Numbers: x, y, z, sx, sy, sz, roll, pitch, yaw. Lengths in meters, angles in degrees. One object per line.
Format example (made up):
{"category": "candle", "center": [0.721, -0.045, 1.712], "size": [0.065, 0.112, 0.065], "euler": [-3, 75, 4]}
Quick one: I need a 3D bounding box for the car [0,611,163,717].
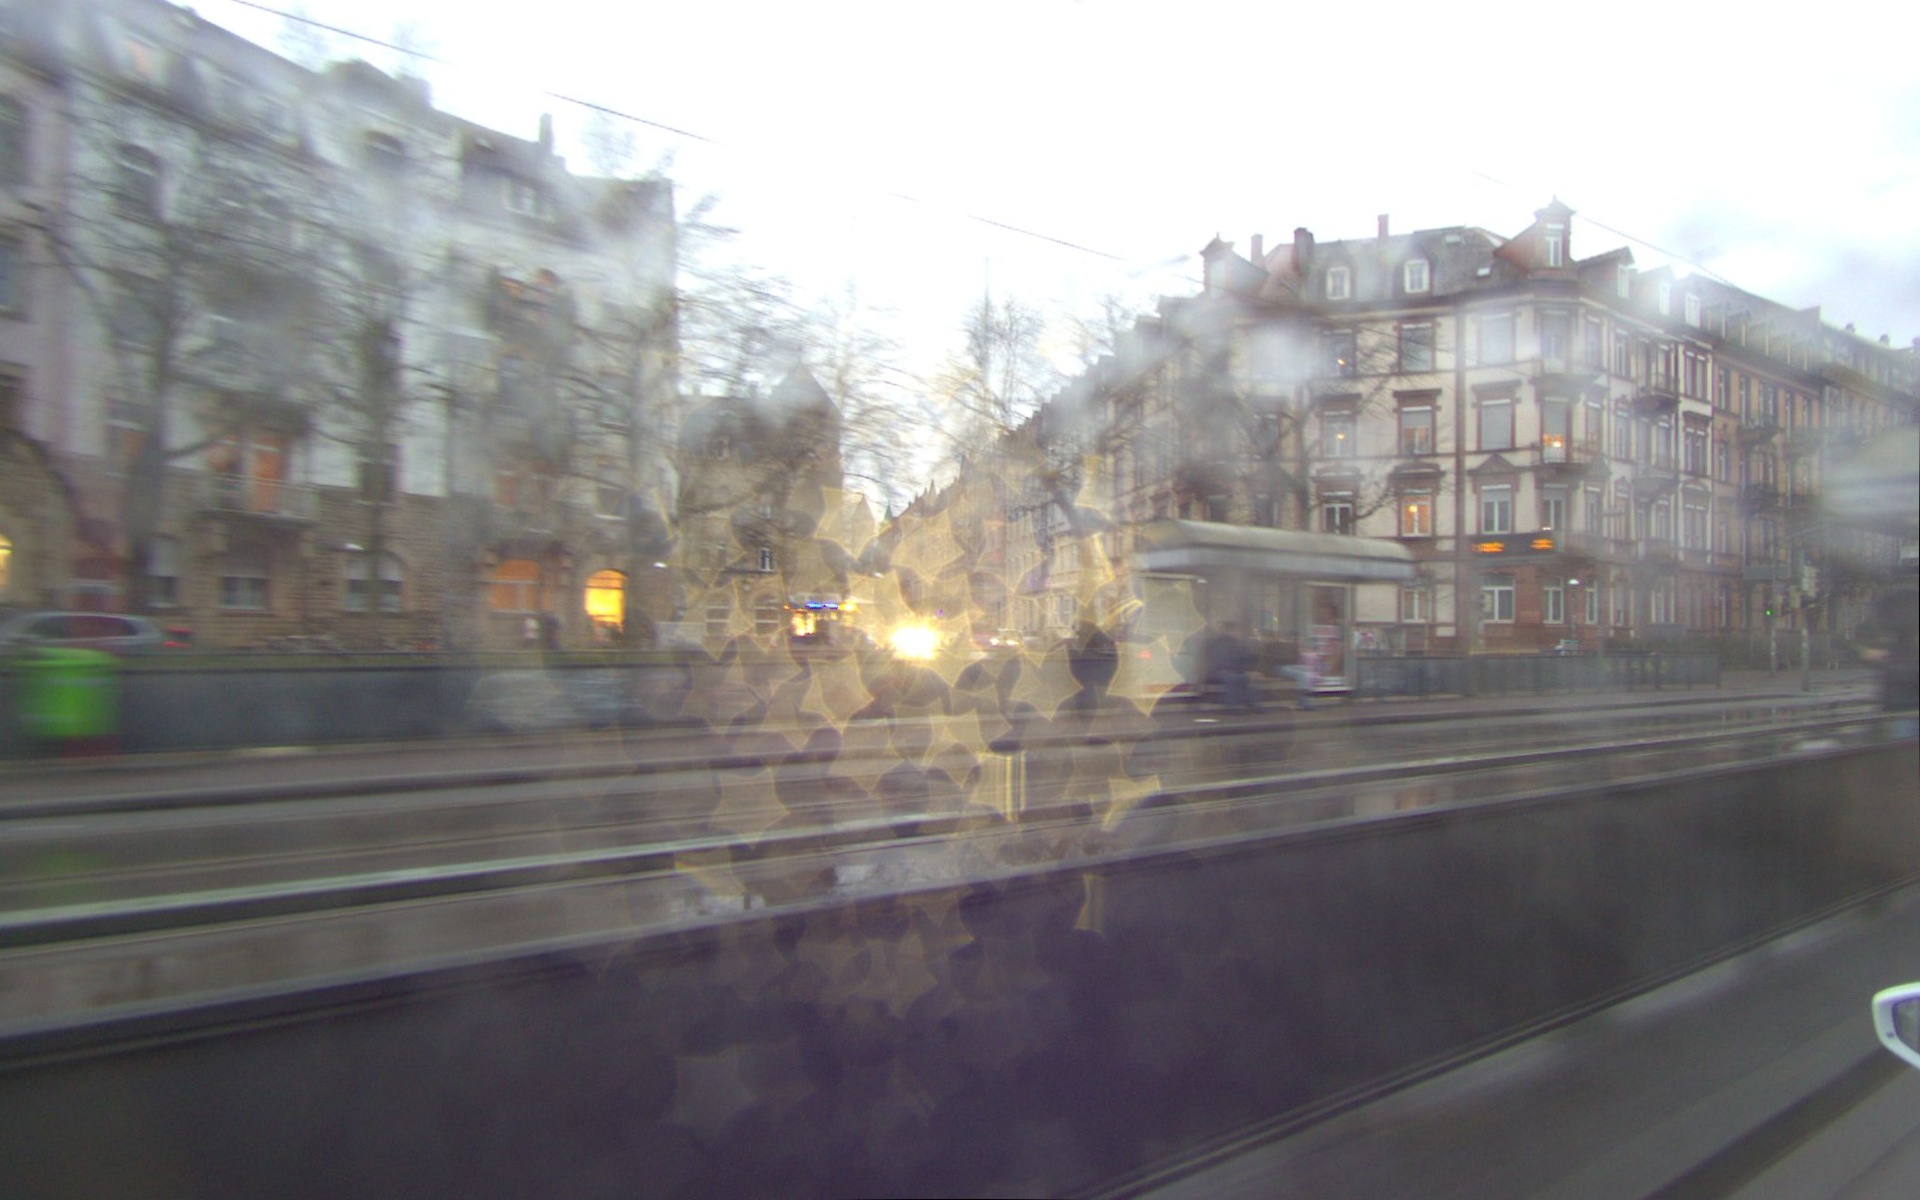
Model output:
{"category": "car", "center": [-16.045, 1.028, 16.557], "size": [1.898, 1.604, 4.346], "euler": [2, 0, 10]}

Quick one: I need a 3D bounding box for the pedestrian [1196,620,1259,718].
{"category": "pedestrian", "center": [4.076, 1.036, 15.330], "size": [0.572, 1.422, 0.680], "euler": [2, 1, -33]}

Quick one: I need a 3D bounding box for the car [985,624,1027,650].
{"category": "car", "center": [3.188, 2.603, 70.166], "size": [1.966, 1.728, 3.990], "euler": [1, -2, -13]}

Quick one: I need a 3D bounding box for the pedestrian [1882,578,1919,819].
{"category": "pedestrian", "center": [7.328, 0.733, 7.427], "size": [0.564, 1.764, 0.554], "euler": [2, 1, -32]}

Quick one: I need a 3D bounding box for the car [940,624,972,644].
{"category": "car", "center": [-0.347, 2.992, 88.639], "size": [1.966, 1.728, 3.990], "euler": [1, -2, -13]}

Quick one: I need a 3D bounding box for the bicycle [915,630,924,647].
{"category": "bicycle", "center": [-2.418, 2.292, 60.136], "size": [0.482, 1.020, 1.811], "euler": [0, -2, 0]}

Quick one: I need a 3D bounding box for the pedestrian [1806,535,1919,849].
{"category": "pedestrian", "center": [6.249, 0.580, 6.602], "size": [0.564, 1.982, 0.849], "euler": [2, 1, -32]}

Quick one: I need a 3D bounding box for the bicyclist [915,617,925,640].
{"category": "bicyclist", "center": [-2.400, 1.712, 60.100], "size": [0.520, 1.382, 0.766], "euler": [0, -1, 0]}

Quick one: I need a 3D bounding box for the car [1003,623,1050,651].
{"category": "car", "center": [4.201, 2.363, 64.371], "size": [1.965, 1.728, 3.991], "euler": [1, -2, -13]}

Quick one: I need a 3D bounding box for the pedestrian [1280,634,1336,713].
{"category": "pedestrian", "center": [5.751, 1.197, 16.607], "size": [0.511, 1.234, 0.648], "euler": [2, 1, -33]}

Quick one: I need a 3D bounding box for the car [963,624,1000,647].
{"category": "car", "center": [1.690, 2.800, 79.078], "size": [1.966, 1.728, 3.990], "euler": [1, -2, -13]}

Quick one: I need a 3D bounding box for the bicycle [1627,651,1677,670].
{"category": "bicycle", "center": [28.863, 2.508, 41.908], "size": [1.774, 0.769, 0.401], "euler": [0, -1, 3]}

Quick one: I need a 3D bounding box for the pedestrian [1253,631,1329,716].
{"category": "pedestrian", "center": [5.343, 1.164, 16.259], "size": [0.501, 1.271, 1.050], "euler": [2, 1, -32]}

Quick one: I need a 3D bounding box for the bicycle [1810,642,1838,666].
{"category": "bicycle", "center": [39.188, 2.449, 45.559], "size": [1.828, 1.020, 0.414], "euler": [2, -1, -32]}

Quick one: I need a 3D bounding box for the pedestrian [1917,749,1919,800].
{"category": "pedestrian", "center": [8.148, 0.622, 8.005], "size": [0.564, 2.014, 0.554], "euler": [2, 1, -32]}

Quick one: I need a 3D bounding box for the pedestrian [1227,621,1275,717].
{"category": "pedestrian", "center": [4.489, 1.051, 15.501], "size": [0.448, 1.422, 0.470], "euler": [1, 1, -33]}

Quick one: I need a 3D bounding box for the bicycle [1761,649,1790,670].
{"category": "bicycle", "center": [35.056, 2.546, 43.153], "size": [1.828, 0.873, 0.397], "euler": [2, -2, -32]}
